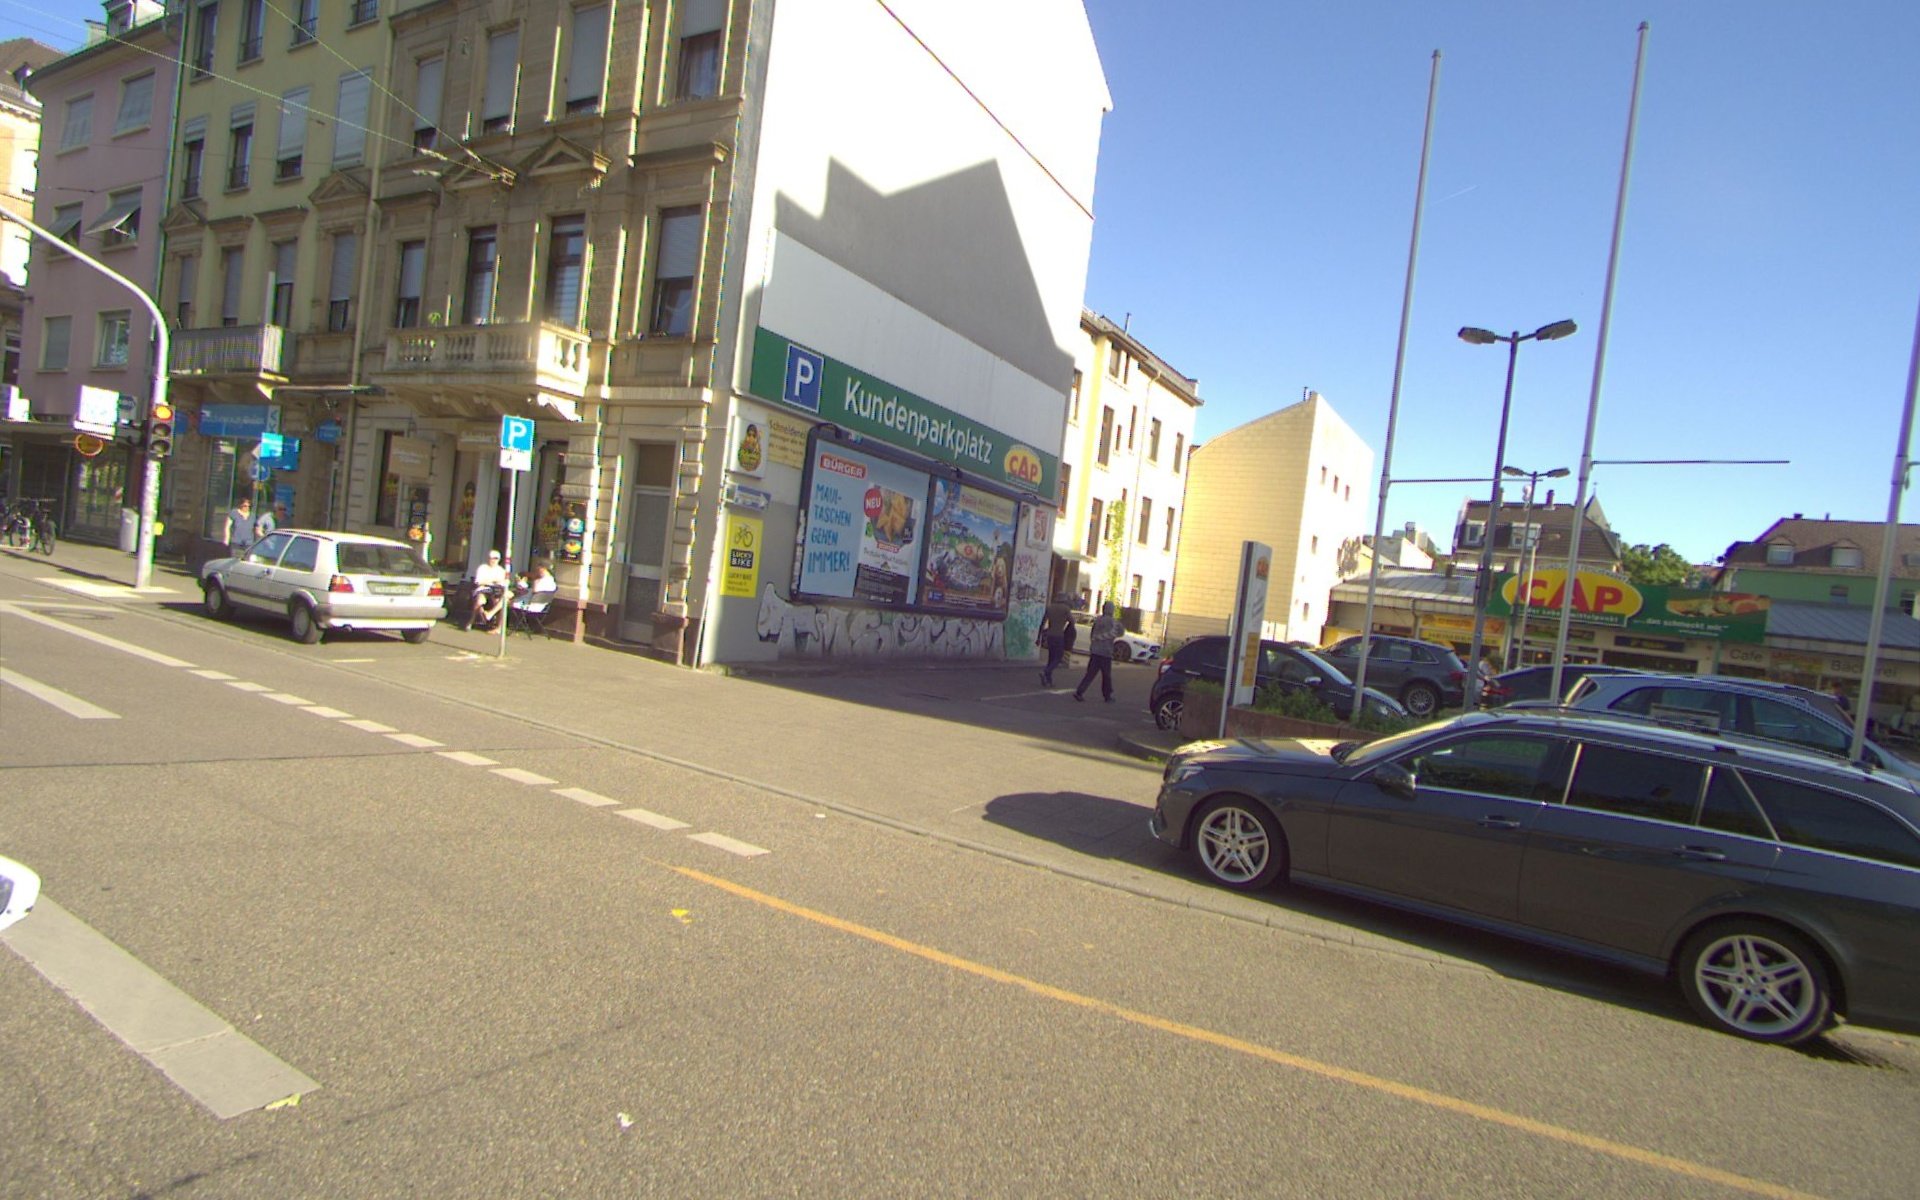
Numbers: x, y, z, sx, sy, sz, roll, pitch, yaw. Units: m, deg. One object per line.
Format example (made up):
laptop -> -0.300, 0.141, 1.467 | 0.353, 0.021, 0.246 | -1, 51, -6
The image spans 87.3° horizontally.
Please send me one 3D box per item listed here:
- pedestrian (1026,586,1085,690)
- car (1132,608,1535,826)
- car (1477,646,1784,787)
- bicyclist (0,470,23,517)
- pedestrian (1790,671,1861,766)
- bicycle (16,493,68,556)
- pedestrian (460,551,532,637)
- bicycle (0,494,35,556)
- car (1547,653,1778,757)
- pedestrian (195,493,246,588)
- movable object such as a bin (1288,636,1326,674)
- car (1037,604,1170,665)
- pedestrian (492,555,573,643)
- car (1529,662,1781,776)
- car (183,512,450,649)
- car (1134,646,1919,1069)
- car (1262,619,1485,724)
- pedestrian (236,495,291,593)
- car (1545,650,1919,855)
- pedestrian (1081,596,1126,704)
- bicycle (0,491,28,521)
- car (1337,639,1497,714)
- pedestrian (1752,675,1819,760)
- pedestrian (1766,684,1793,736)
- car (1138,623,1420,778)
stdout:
pedestrian -> 1.821, 0.719, 19.132 | 0.734, 1.864, 0.762 | 7, 1, 21
car -> 4.112, 1.168, 11.290 | 3.835, 1.666, 1.652 | 7, 2, 28
car -> 10.746, 1.809, 16.466 | 3.871, 1.564, 1.544 | 8, 1, 30
bicyclist -> -33.166, -3.709, 34.841 | 0.540, 1.521, 0.957 | 7, 1, -17
pedestrian -> 20.074, 2.734, 23.345 | 0.908, 2.039, 0.817 | 8, 1, 32
bicycle -> -19.584, -1.619, 21.450 | 1.731, 1.173, 0.448 | 8, 1, 38
pedestrian -> -7.448, -0.098, 16.161 | 0.598, 1.299, 0.797 | 8, 4, 29
bicycle -> -19.854, -1.596, 21.027 | 1.782, 1.155, 0.414 | 8, 1, 38
car -> 15.258, 2.235, 22.126 | 3.872, 1.601, 1.658 | 8, 1, 31
pedestrian -> -14.067, -1.121, 19.133 | 0.382, 1.729, 0.550 | 8, 2, 34
movable object such as a bin -> 15.554, 2.458, 45.066 | 1.258, 1.526, 1.174 | 8, 1, 31
car -> 4.789, 1.162, 33.747 | 3.933, 1.482, 1.756 | 8, 1, 32
pedestrian -> -6.784, -0.012, 15.993 | 0.644, 1.299, 0.902 | 8, 3, 27
car -> 13.719, 2.293, 20.156 | 3.872, 1.564, 1.543 | 8, 1, 31
car -> -9.043, -0.317, 14.053 | 3.937, 1.435, 1.562 | 8, 4, 32
car -> 3.741, 1.375, 6.657 | 4.656, 1.507, 1.832 | 8, 3, 32
car -> 9.325, 1.565, 22.805 | 4.309, 1.687, 1.756 | 8, 1, 32
pedestrian -> -13.573, -1.086, 19.605 | 0.522, 1.831, 0.672 | 8, 4, 31
car -> 9.165, 1.682, 11.598 | 3.930, 1.665, 1.748 | 7, 0, 28
pedestrian -> 2.494, 0.850, 17.417 | 0.503, 1.777, 0.762 | 7, 1, 12
bicycle -> -33.200, -3.284, 34.903 | 0.644, 0.914, 1.333 | 8, 0, -16
car -> 13.294, 2.196, 29.299 | 3.933, 1.538, 1.723 | 8, 1, 32
pedestrian -> 19.267, 2.722, 23.499 | 0.908, 1.818, 0.817 | 8, 1, 32
pedestrian -> 33.687, 4.509, 41.366 | 0.637, 2.039, 0.560 | 8, 2, 41
car -> 4.382, 1.302, 13.863 | 3.336, 1.504, 1.561 | 8, 1, 28
